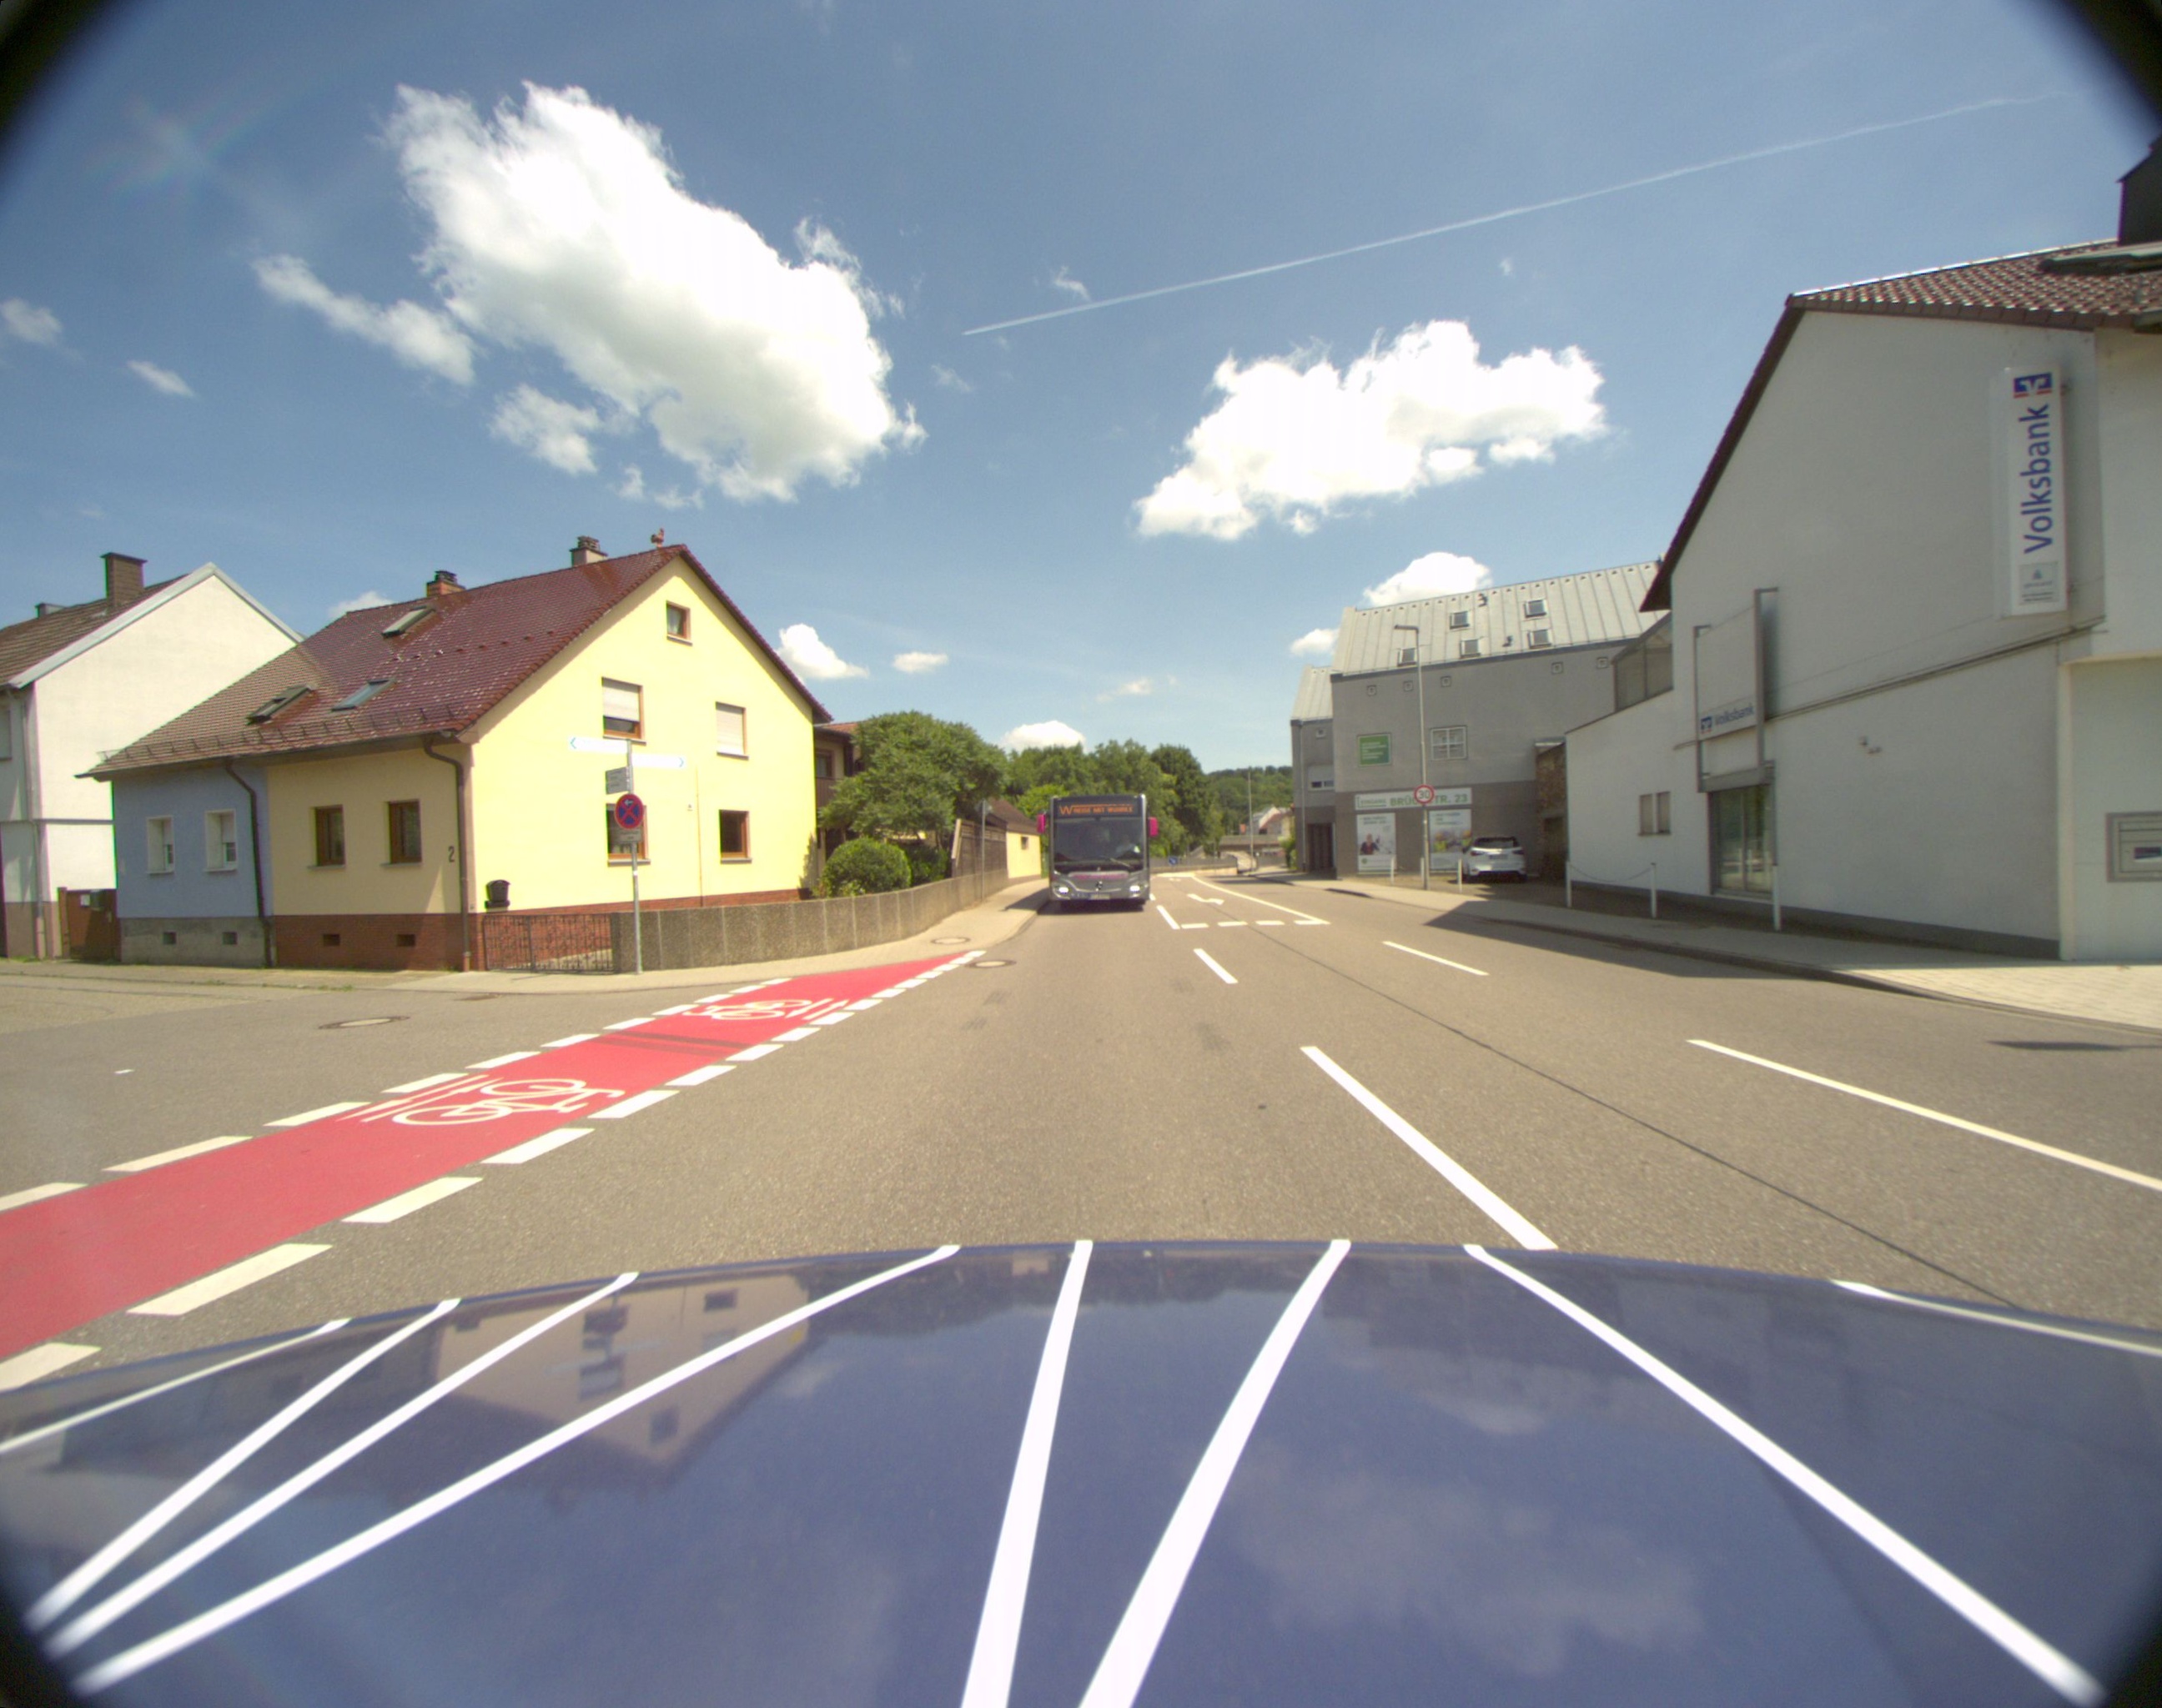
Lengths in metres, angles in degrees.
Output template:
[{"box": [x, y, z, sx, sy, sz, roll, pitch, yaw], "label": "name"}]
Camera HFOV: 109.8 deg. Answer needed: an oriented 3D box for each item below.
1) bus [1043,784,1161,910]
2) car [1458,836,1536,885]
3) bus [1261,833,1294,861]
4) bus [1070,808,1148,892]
[{"box": [0.759, -0.063, 22.571, 2.755, 2.949, 9.285, -1, -1, 3], "label": "bus"}, {"box": [14.509, 0.216, 26.733, 1.995, 1.565, 4.259, -1, 0, 23], "label": "car"}, {"box": [29.567, -0.956, 113.953, 2.813, 3.977, 10.987, -2, -1, 24], "label": "bus"}, {"box": [1.212, -0.044, 31.936, 2.755, 2.949, 9.284, -1, -1, 3], "label": "bus"}]
